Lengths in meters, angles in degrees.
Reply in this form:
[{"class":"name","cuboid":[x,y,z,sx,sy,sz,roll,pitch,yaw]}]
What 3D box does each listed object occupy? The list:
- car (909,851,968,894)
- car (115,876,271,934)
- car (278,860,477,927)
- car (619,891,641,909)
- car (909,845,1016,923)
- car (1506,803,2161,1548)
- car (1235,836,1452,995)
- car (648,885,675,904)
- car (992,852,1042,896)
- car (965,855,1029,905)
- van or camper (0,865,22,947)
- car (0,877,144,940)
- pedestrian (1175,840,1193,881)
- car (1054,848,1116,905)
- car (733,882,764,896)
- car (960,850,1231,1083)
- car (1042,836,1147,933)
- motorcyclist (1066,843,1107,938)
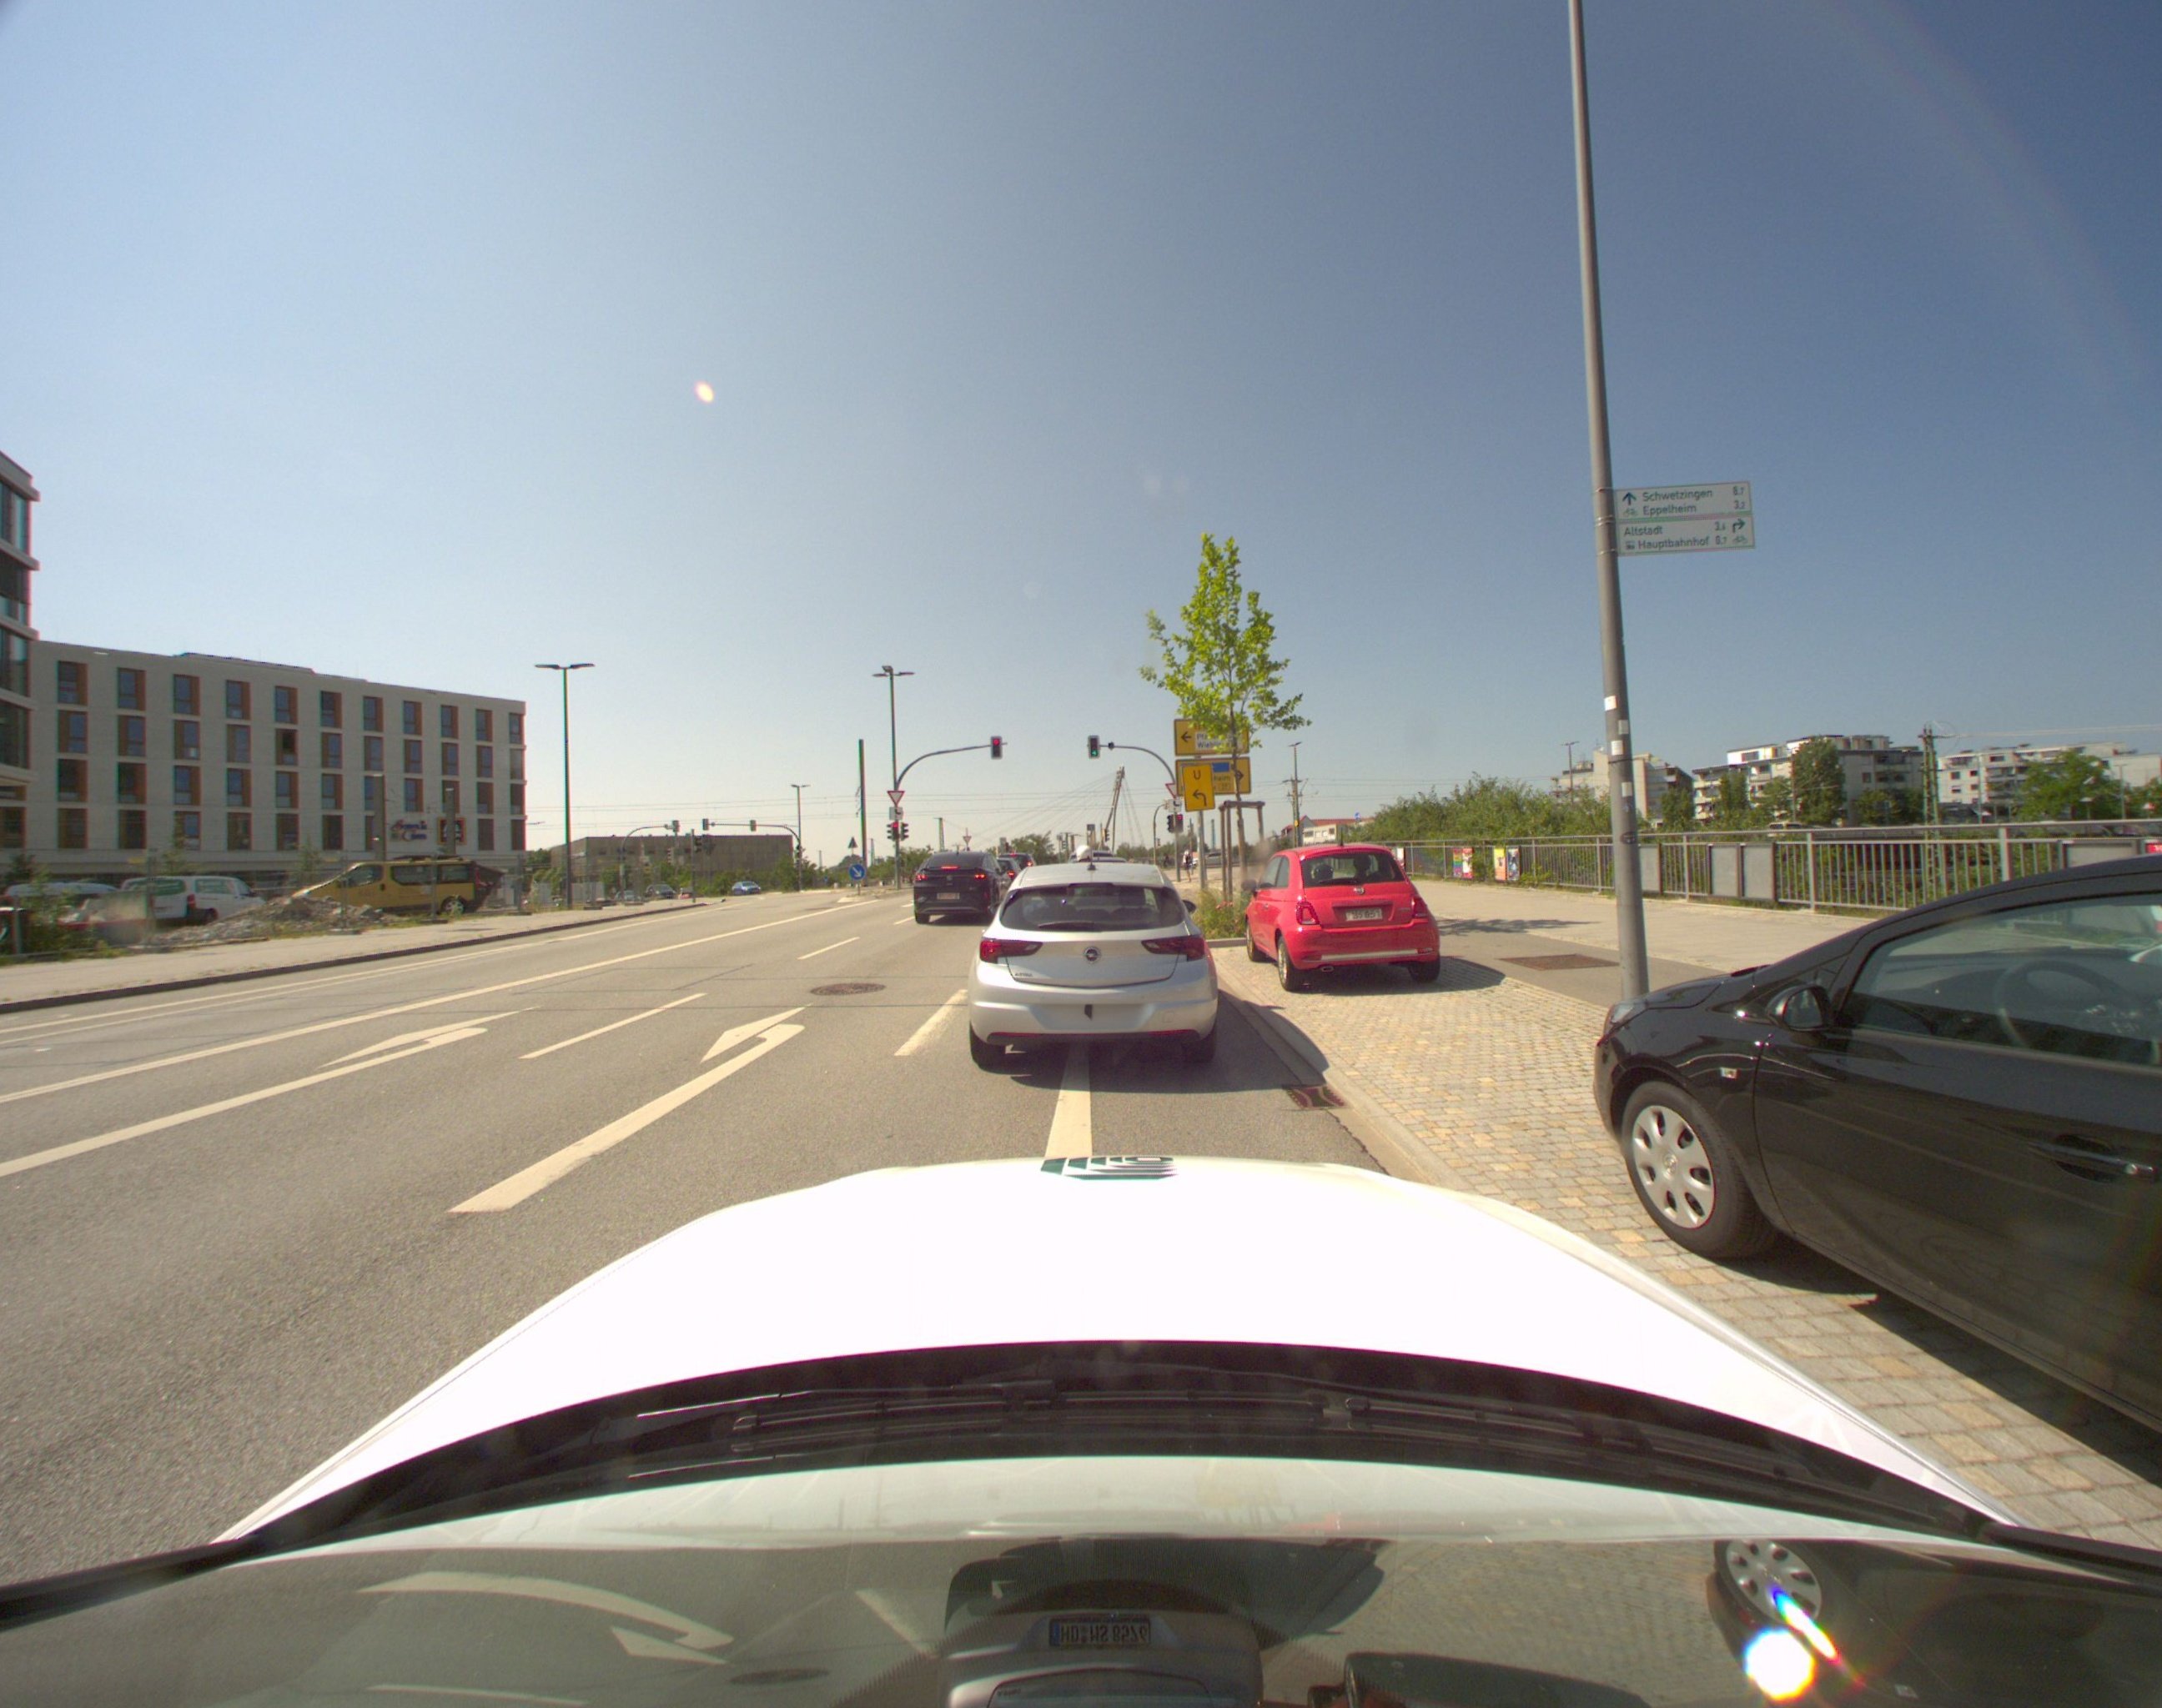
[{"class":"car","cuboid":[-5.405,0.694,31.249,1.592,1.547,3.761,0,-1,0]},{"class":"car","cuboid":[-31.027,1.693,28.670,1.873,1.774,4.619,0,-1,-22]},{"class":"car","cuboid":[-22.690,1.194,26.427,1.964,1.962,4.655,-1,-1,40]},{"class":"car","cuboid":[-45.899,4.656,82.899,1.578,1.587,3.441,0,-1,-35]},{"class":"car","cuboid":[-2.694,0.655,19.511,1.795,1.641,4.367,0,-1,2]},{"class":"car","cuboid":[2.874,0.579,1.926,1.654,1.426,4.001,-3,-1,1]},{"class":"car","cuboid":[2.927,0.609,9.786,1.603,1.496,3.355,-4,0,3]},{"class":"car","cuboid":[-38.563,3.704,74.828,1.686,1.476,3.368,-2,0,-37]},{"class":"car","cuboid":[-2.433,0.739,31.800,1.644,1.615,3.819,0,-1,0]},{"class":"car","cuboid":[-2.598,0.780,25.838,1.569,1.434,3.786,0,-1,1]},{"class":"van or camper","cuboid":[-36.465,1.720,25.314,2.318,2.735,4.944,0,-1,-26]},{"class":"car","cuboid":[-33.695,1.742,27.207,1.794,1.857,3.817,0,-1,-27]},{"class":"pedestrian","cuboid":[4.741,0.287,37.435,0.645,1.836,0.798,-2,-1,0]},{"class":"car","cuboid":[0.178,0.601,24.577,1.717,1.563,4.002,0,1,2]},{"class":"car","cuboid":[-33.167,3.461,81.109,1.831,1.331,3.954,0,-2,-38]},{"class":"car","cuboid":[0.074,0.735,7.245,1.738,1.478,3.998,0,-1,-1]},{"class":"car","cuboid":[0.327,0.565,17.669,1.986,1.820,4.404,0,0,2]},{"class":"motorcyclist","cuboid":[0.094,0.544,12.387,0.579,1.389,0.707,0,-1,2]}]
